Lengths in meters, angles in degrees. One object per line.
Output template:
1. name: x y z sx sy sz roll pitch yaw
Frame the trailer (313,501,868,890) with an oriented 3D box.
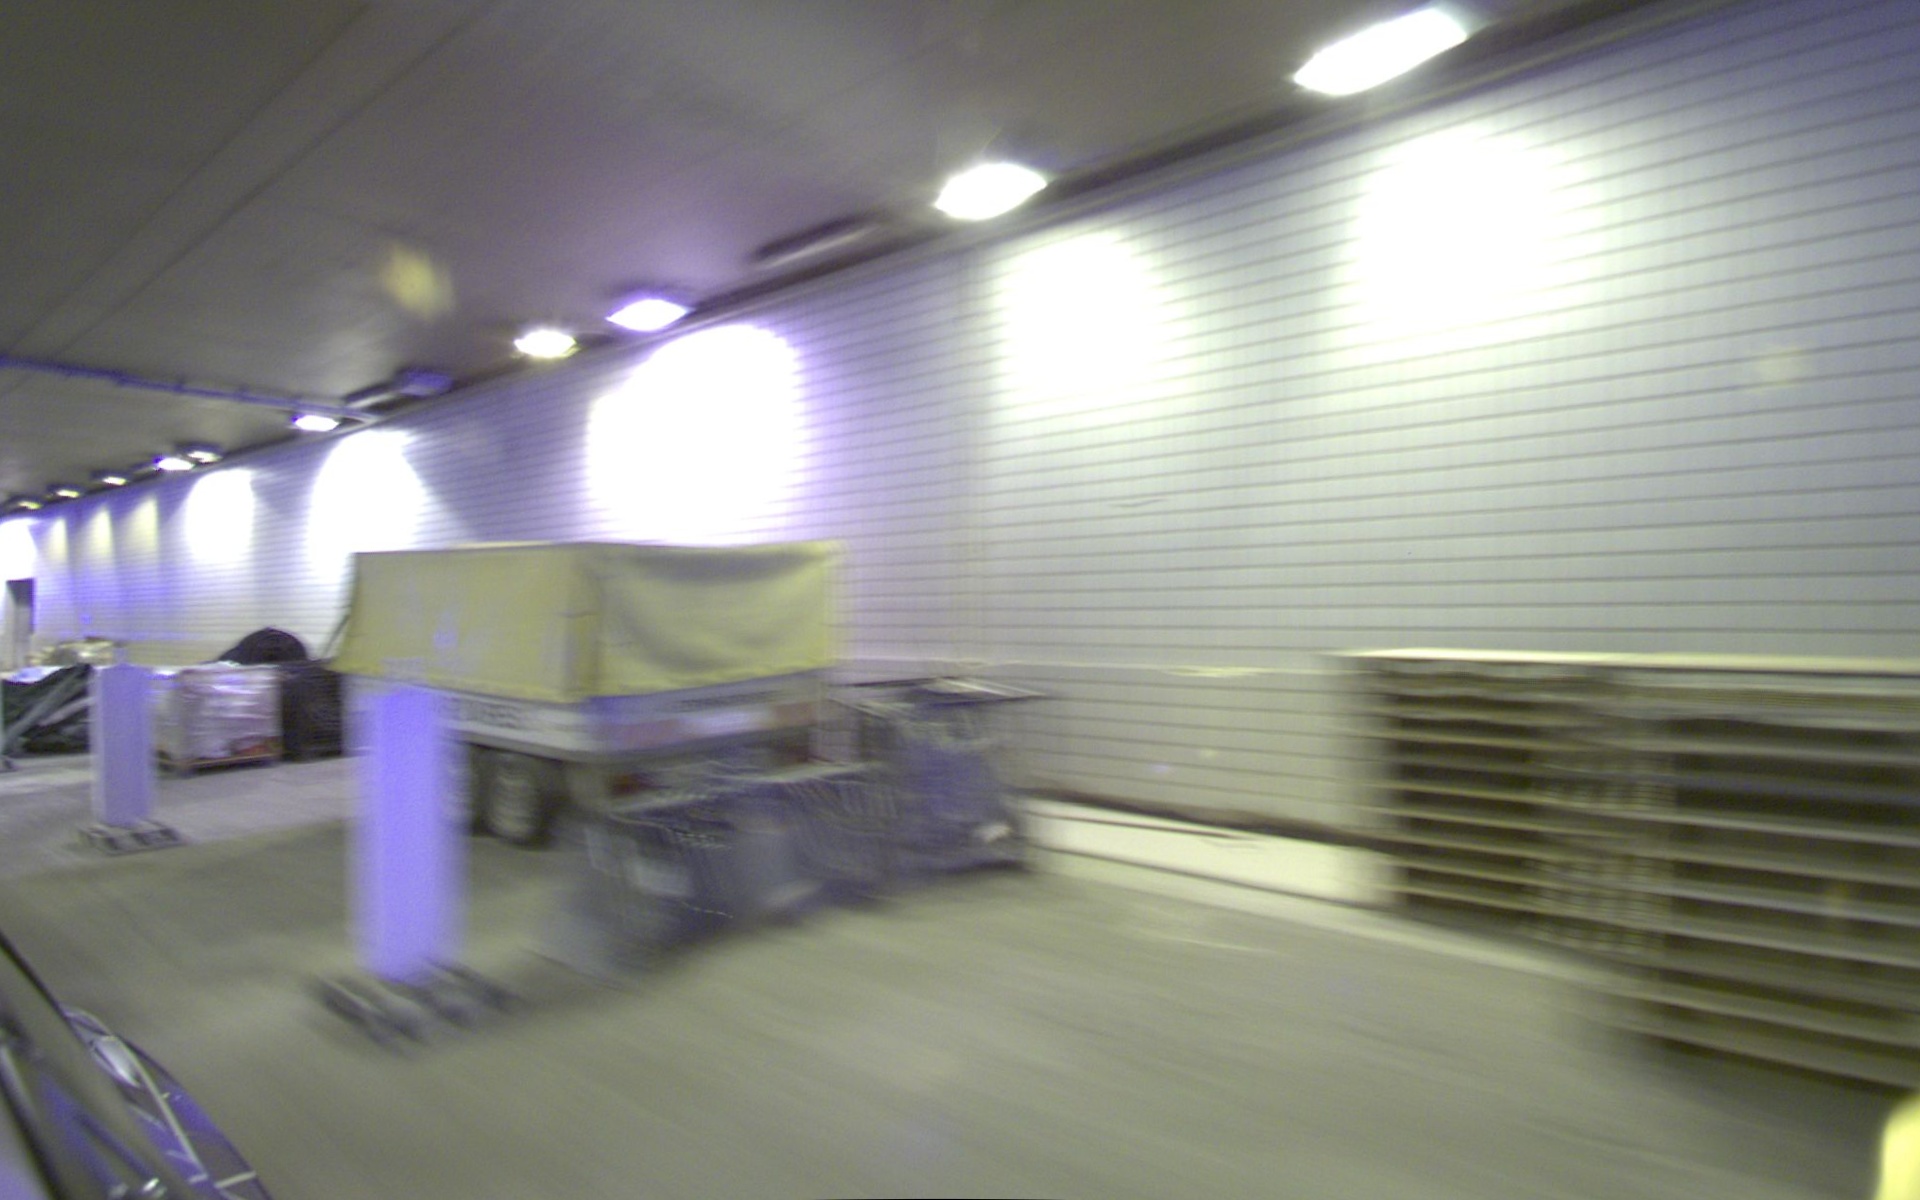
1. trailer: -2.669 0.513 7.204 3.460 2.029 2.188 -1 -1 36
